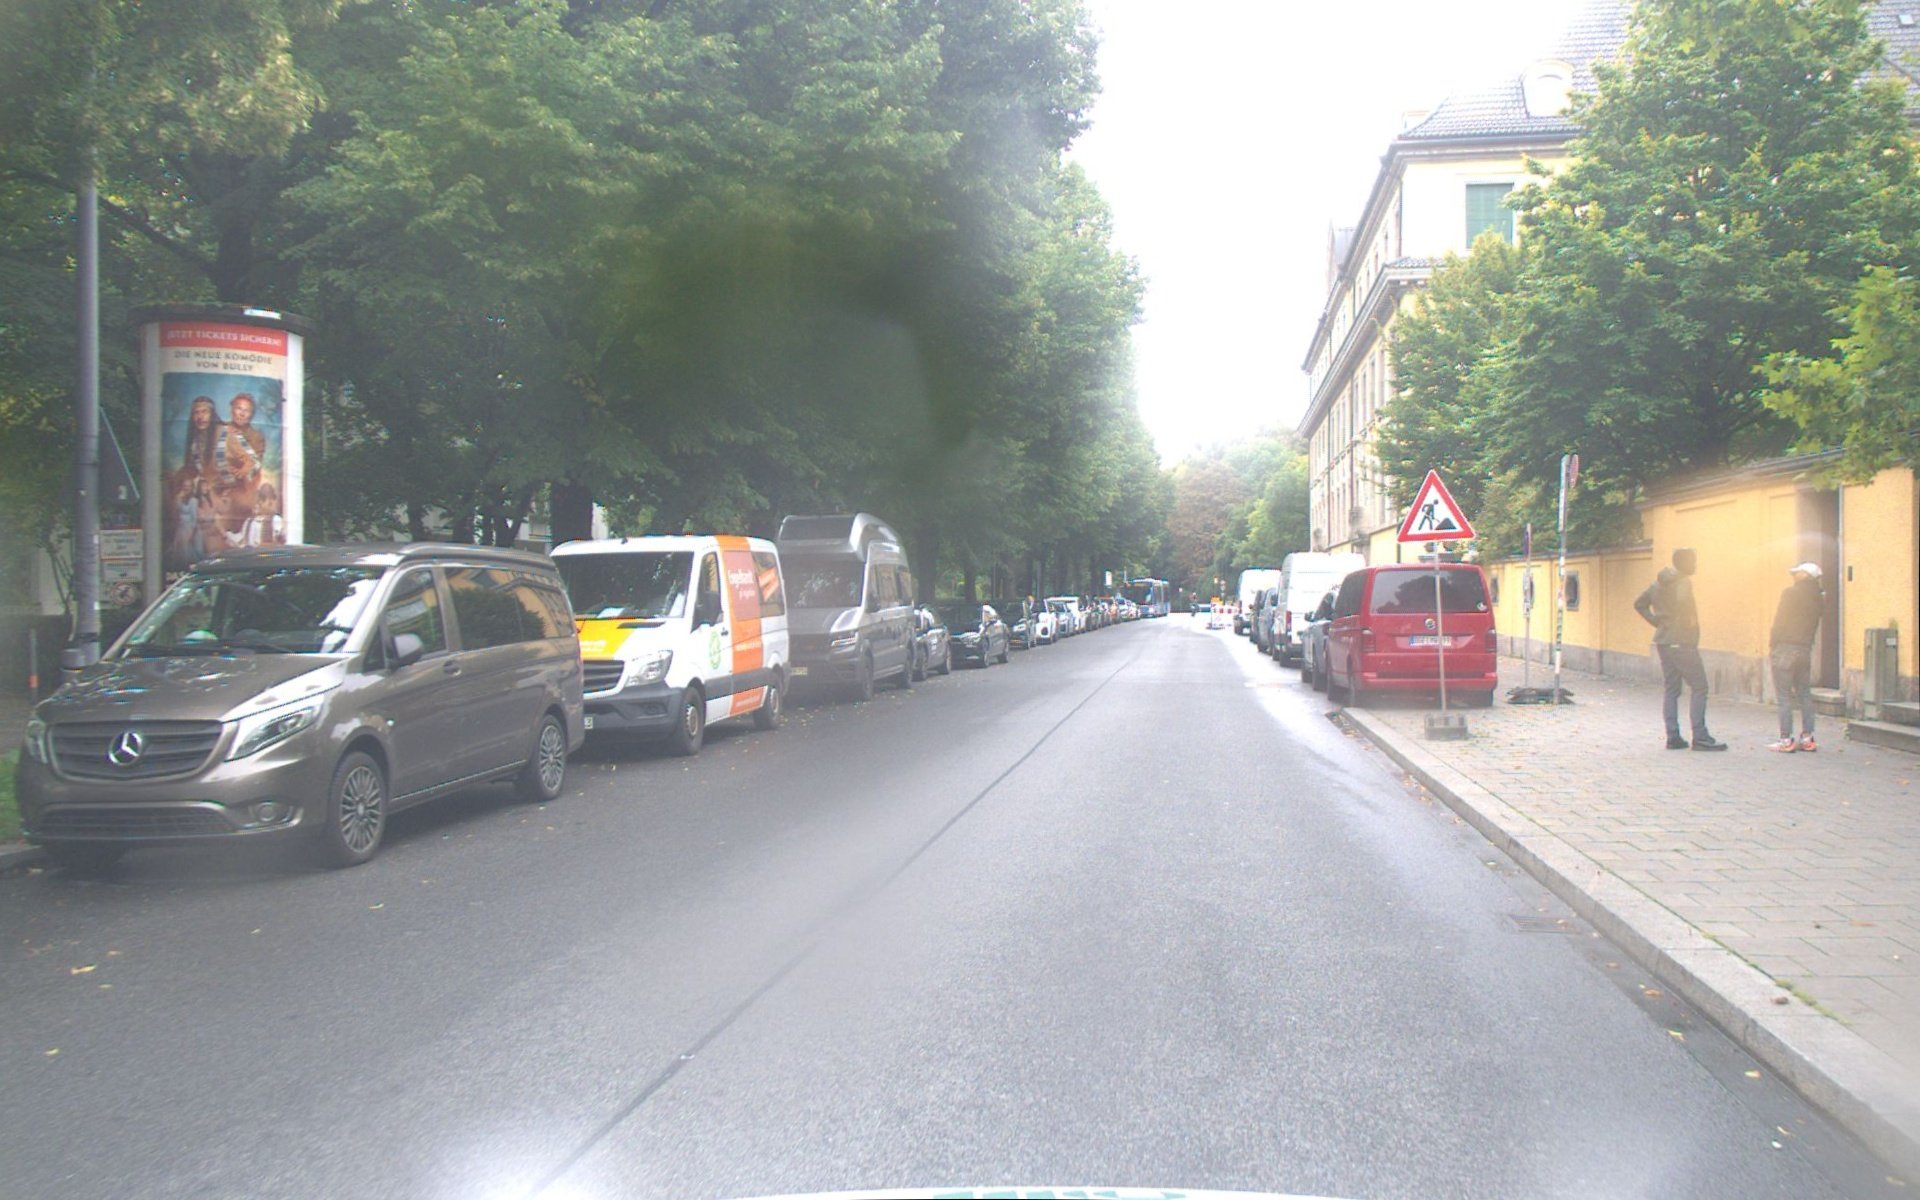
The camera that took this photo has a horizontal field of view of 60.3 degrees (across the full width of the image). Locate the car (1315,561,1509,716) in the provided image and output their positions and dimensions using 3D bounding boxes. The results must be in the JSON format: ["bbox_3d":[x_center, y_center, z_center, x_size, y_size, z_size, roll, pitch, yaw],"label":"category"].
[{"bbox_3d":[6.287,0.496,23.547,1.871,1.971,4.972,0,0,6],"label":"car"}]

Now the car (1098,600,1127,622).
[{"bbox_3d":[10.329,0.753,112.073,1.951,1.445,4.002,0,0,5],"label":"car"}]

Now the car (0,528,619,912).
[{"bbox_3d":[-4.240,0.632,11.357,1.983,1.941,5.671,-2,0,7],"label":"car"}]

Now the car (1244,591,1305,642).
[{"bbox_3d":[10.866,0.549,57.389,1.756,1.708,4.003,-1,0,6],"label":"car"}]

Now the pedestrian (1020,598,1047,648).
[{"bbox_3d":[2.437,0.758,54.764,0.865,1.626,0.823,0,0,1],"label":"pedestrian"}]

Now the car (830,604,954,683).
[{"bbox_3d":[-1.293,0.822,33.013,1.951,1.445,4.002,0,0,5],"label":"car"}]

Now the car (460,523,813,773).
[{"bbox_3d":[-3.347,0.461,18.531,2.039,2.304,5.607,-2,0,8],"label":"car"}]

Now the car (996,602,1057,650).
[{"bbox_3d":[2.396,0.888,58.433,1.951,1.648,4.132,0,0,5],"label":"car"}]

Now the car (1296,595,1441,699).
[{"bbox_3d":[7.044,0.751,28.965,1.951,1.663,4.568,-1,0,8],"label":"car"}]

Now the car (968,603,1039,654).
[{"bbox_3d":[1.420,0.863,51.960,1.951,1.513,4.132,0,0,5],"label":"car"}]

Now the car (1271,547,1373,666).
[{"bbox_3d":[8.505,0.146,39.216,1.951,2.603,5.435,-1,0,8],"label":"car"}]

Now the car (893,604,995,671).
[{"bbox_3d":[-0.315,0.839,38.486,1.951,1.445,4.132,0,0,5],"label":"car"}]

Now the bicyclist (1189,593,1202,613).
[{"bbox_3d":[18.574,0.213,130.565,0.999,1.572,1.258,-1,0,8],"label":"bicyclist"}]

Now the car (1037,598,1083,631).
[{"bbox_3d":[4.511,0.633,74.159,1.951,1.445,4.002,0,0,5],"label":"car"}]

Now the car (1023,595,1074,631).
[{"bbox_3d":[3.689,0.520,68.251,1.951,1.445,4.002,0,0,5],"label":"car"}]

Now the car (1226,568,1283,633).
[{"bbox_3d":[12.514,0.012,70.445,1.801,2.668,4.385,-1,0,3],"label":"car"}]

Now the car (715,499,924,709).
[{"bbox_3d":[-2.134,0.059,27.315,2.126,3.055,6.238,-1,0,7],"label":"car"}]

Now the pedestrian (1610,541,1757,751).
[{"bbox_3d":[6.669,0.405,15.269,0.807,1.868,0.947,-1,0,-19],"label":"pedestrian"}]

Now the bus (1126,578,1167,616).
[{"bbox_3d":[15.298,-0.228,136.185,2.876,2.970,8.242,0,0,3],"label":"bus"}]

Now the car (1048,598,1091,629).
[{"bbox_3d":[5.277,0.655,79.626,1.951,1.445,4.002,0,0,5],"label":"car"}]

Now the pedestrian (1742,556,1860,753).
[{"bbox_3d":[7.435,0.468,14.639,0.622,1.696,0.695,-1,0,-14],"label":"pedestrian"}]

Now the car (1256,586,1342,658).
[{"bbox_3d":[9.374,0.588,46.016,1.951,1.916,4.003,-1,0,6],"label":"car"}]
